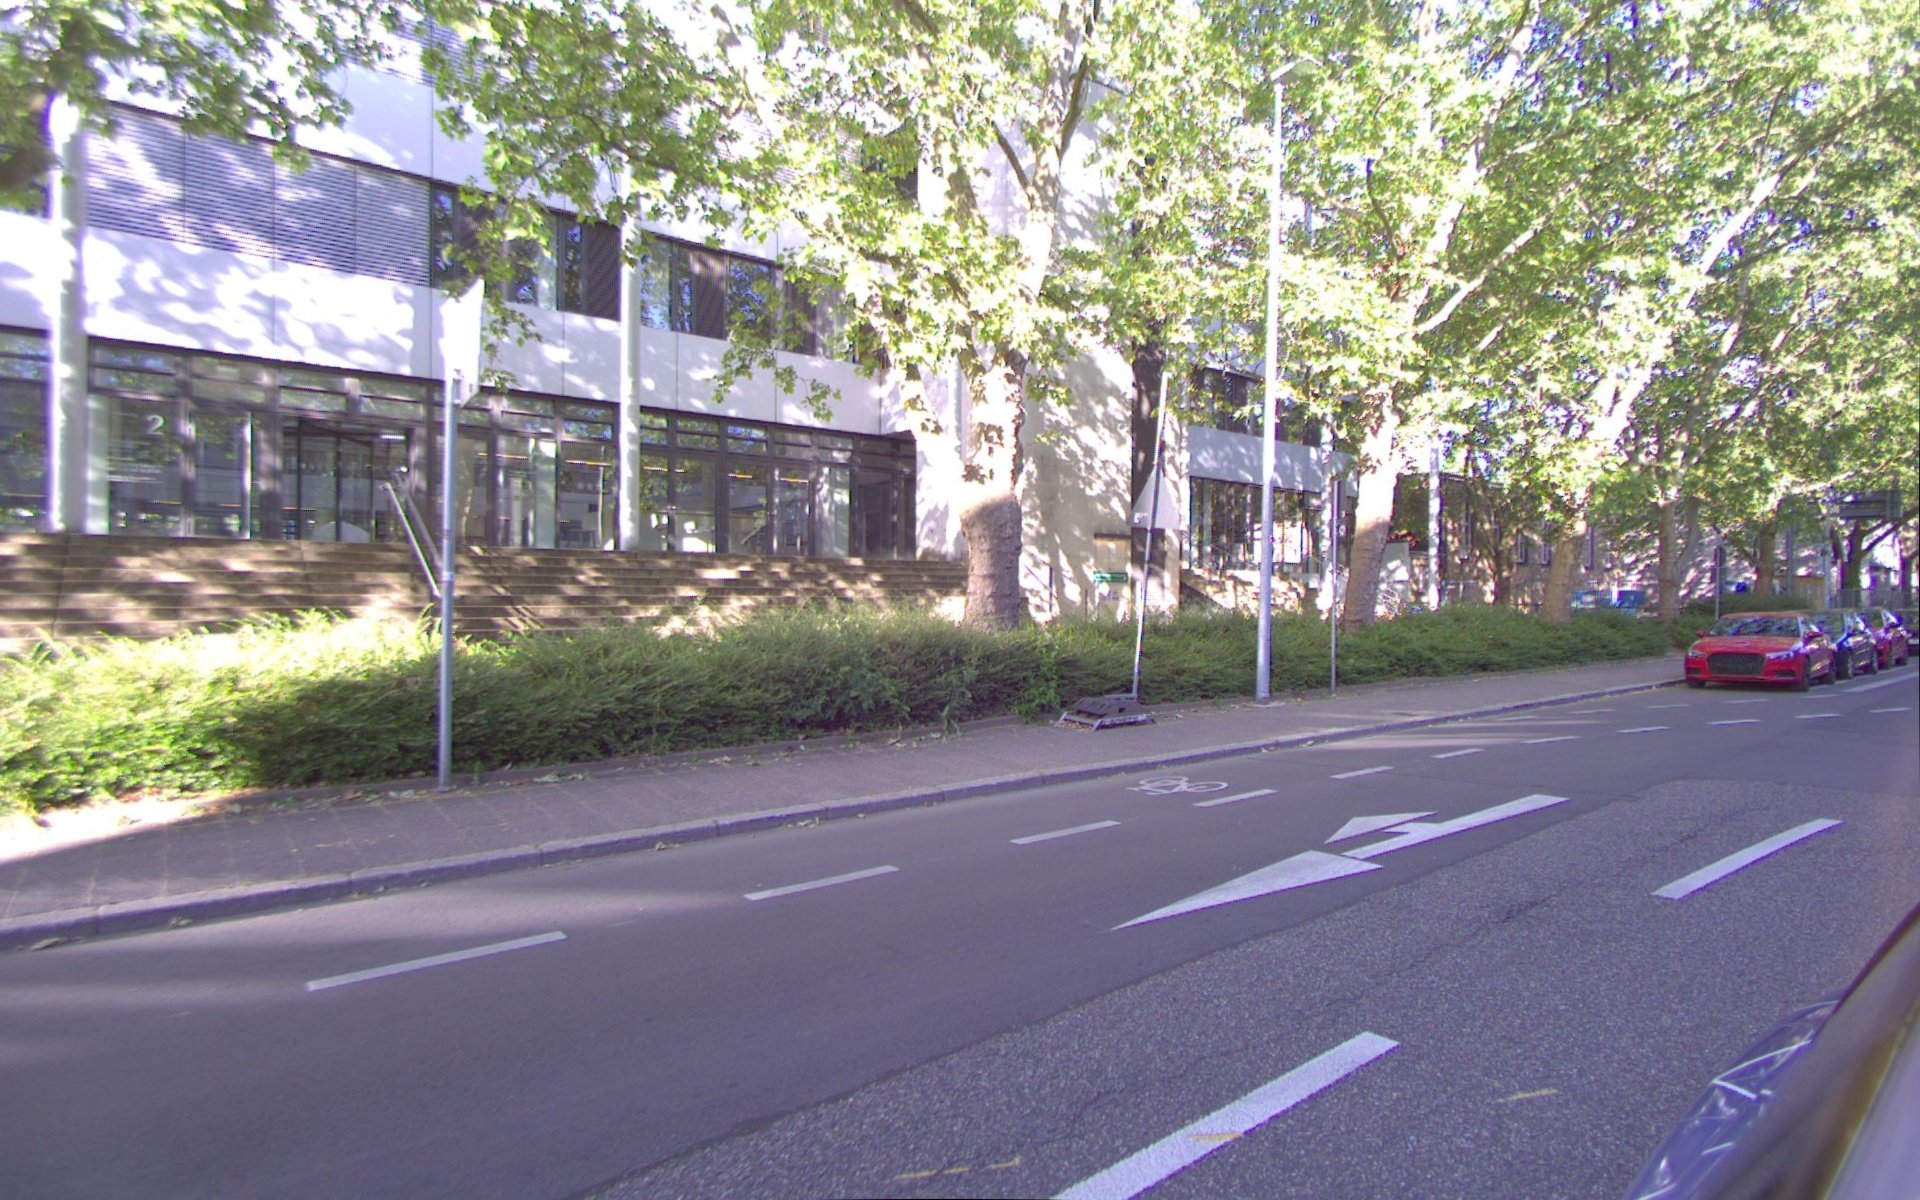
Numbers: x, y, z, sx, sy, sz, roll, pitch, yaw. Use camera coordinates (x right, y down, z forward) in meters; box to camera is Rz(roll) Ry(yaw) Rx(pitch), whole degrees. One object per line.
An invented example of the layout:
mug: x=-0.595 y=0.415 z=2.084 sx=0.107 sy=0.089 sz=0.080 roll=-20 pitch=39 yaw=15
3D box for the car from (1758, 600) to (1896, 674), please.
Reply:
car: x=19.118 y=0.749 z=22.266 sx=3.929 sy=1.486 sz=1.685 roll=0 pitch=-1 yaw=-40

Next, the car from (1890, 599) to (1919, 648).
car: x=30.501 y=0.718 z=31.599 sx=3.929 sy=1.469 sz=1.685 roll=0 pitch=0 yaw=-40

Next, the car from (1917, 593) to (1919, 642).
car: x=34.057 y=0.592 z=34.484 sx=3.768 sy=1.640 sz=1.685 roll=0 pitch=0 yaw=-40

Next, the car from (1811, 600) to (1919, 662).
car: x=22.983 y=0.727 z=25.585 sx=3.714 sy=1.452 sz=1.665 roll=0 pitch=0 yaw=-40

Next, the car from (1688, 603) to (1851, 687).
car: x=15.497 y=0.794 z=19.309 sx=3.960 sy=1.439 sz=1.722 roll=0 pitch=-2 yaw=-41
